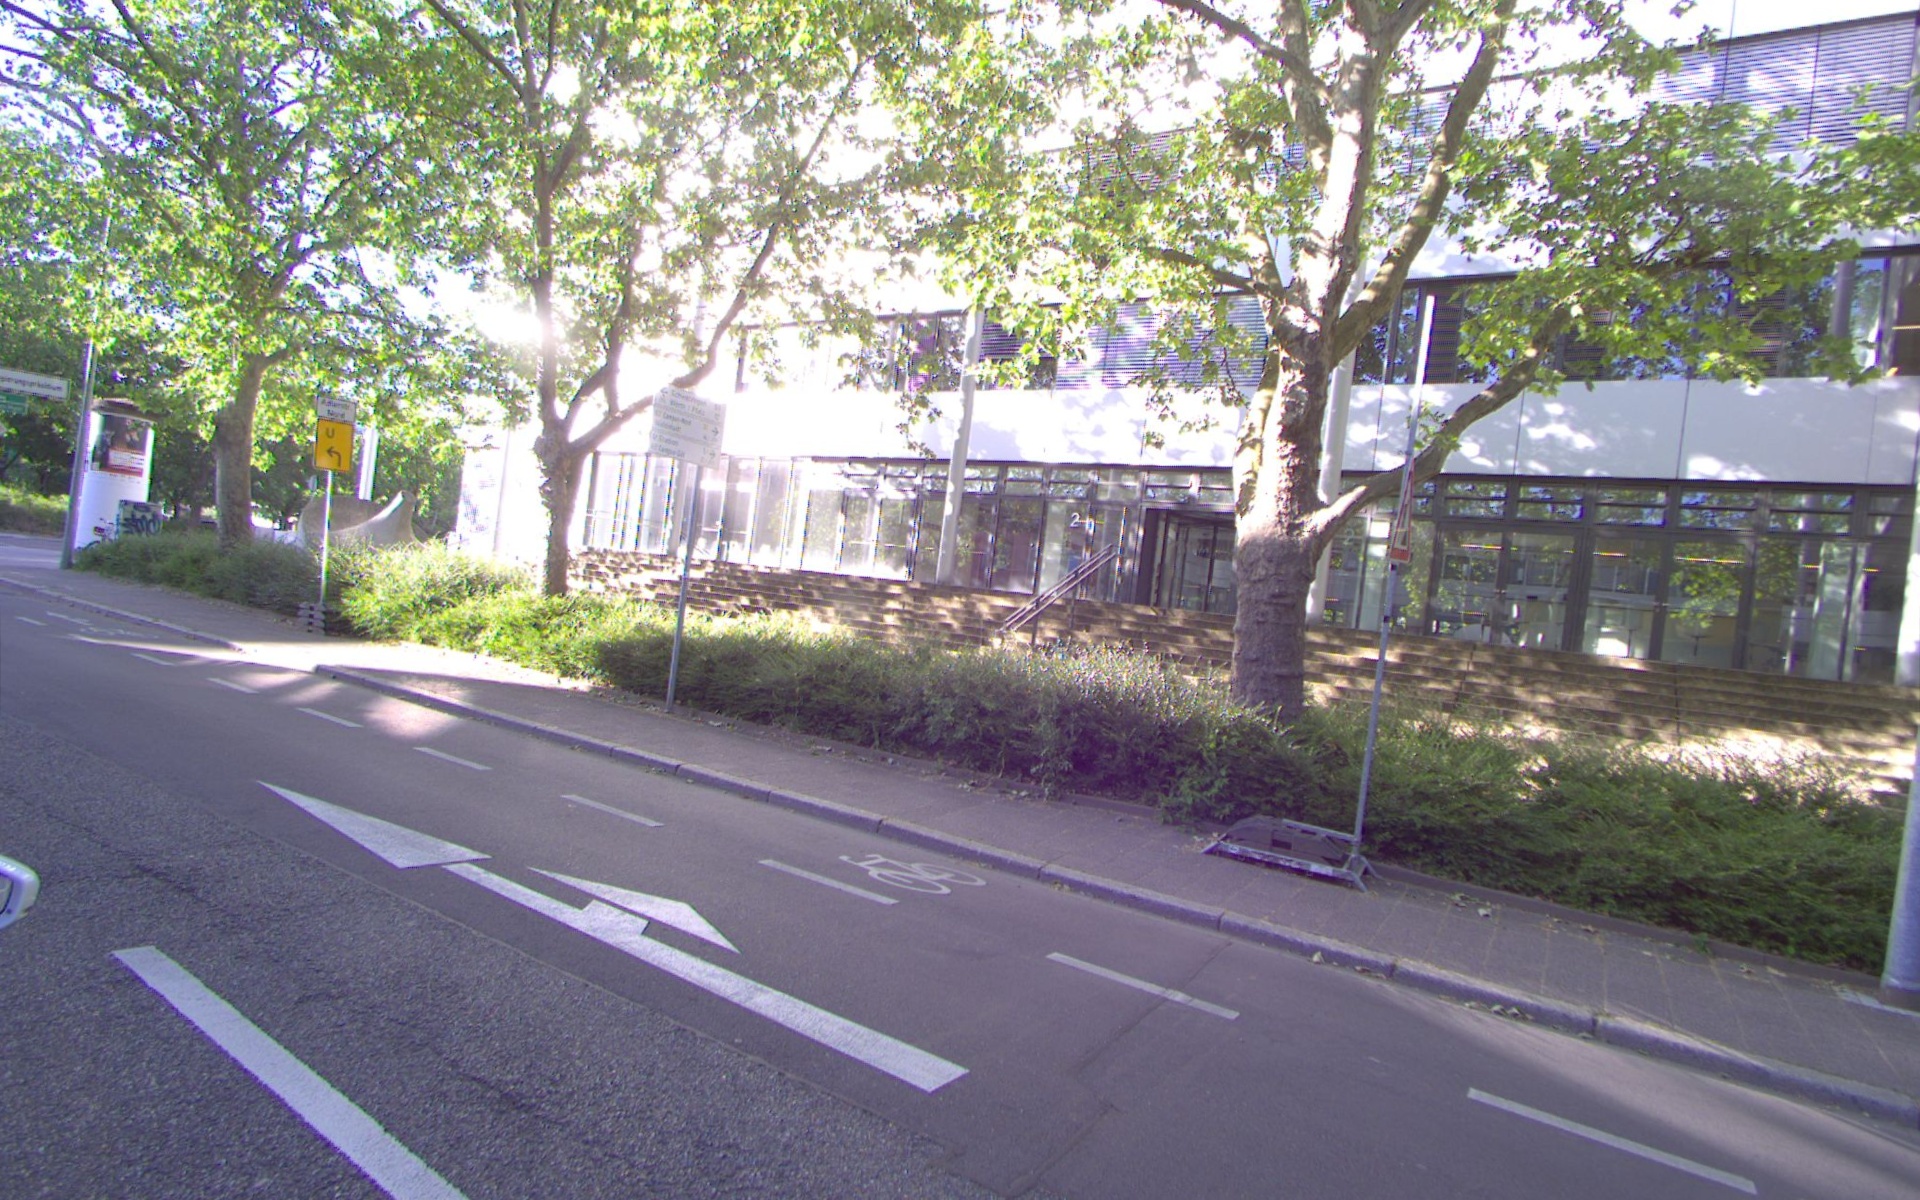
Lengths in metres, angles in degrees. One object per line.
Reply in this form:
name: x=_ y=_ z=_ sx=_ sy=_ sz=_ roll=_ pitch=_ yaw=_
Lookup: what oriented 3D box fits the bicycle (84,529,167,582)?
bicycle: x=-19.238 y=-1.017 z=23.212 sx=0.357 sy=1.036 sz=1.354 roll=7 pitch=-1 yaw=33
